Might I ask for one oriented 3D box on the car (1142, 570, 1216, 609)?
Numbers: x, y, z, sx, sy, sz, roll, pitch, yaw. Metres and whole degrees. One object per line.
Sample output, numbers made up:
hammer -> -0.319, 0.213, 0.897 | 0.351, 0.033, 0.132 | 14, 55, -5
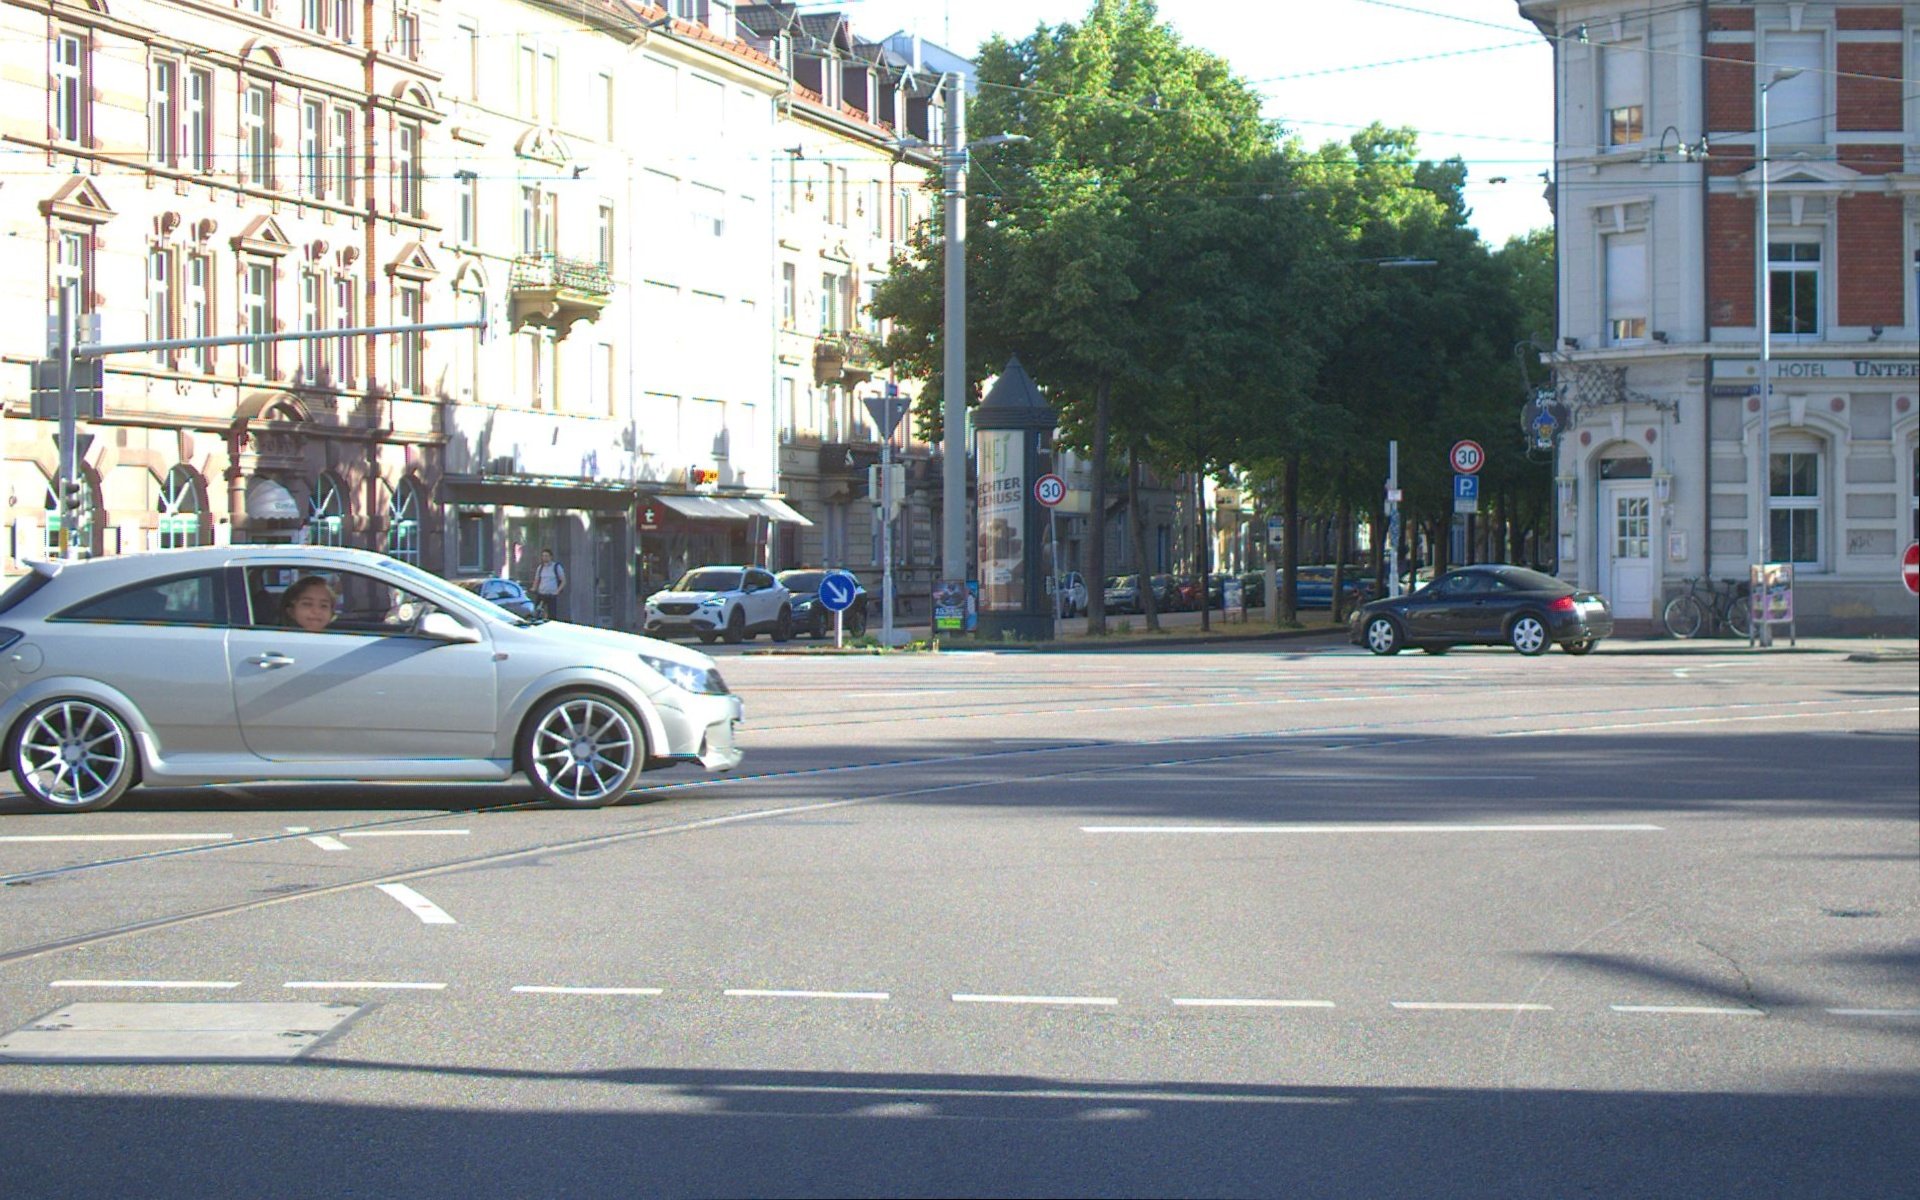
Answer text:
car -> 8.403, -0.418, 131.406 | 1.995, 1.400, 4.166 | 0, 1, 16

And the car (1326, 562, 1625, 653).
car -> 7.677, 0.086, 51.277 | 4.067, 1.296, 1.719 | 0, 1, 32

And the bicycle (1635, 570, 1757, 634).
bicycle -> 12.269, 0.027, 57.341 | 1.953, 1.050, 0.715 | 0, 1, 10

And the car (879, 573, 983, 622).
car -> -0.844, -0.092, 102.090 | 1.995, 1.400, 4.166 | 0, 1, 16

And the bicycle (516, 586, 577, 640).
bicycle -> -7.848, 0.232, 65.300 | 0.655, 0.997, 1.664 | 1, 1, 12

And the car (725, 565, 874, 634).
car -> -3.400, -0.041, 73.643 | 1.995, 1.400, 4.166 | 0, 1, 16

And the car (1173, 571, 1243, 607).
car -> 9.880, -0.450, 136.603 | 1.995, 1.400, 4.166 | 0, 1, 16

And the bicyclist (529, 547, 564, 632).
bicyclist -> -7.840, -0.203, 65.193 | 0.489, 1.596, 0.666 | 0, 1, 10

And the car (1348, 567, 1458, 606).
car -> 14.361, -0.429, 111.465 | 3.435, 1.235, 1.576 | 0, 1, 11

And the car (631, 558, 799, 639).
car -> -4.768, -0.053, 67.474 | 1.995, 1.511, 4.166 | 0, 1, 16

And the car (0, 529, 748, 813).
car -> -3.329, 0.345, 18.470 | 4.267, 1.436, 1.742 | 0, 1, -7

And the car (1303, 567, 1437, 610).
car -> 12.576, -0.348, 105.392 | 3.989, 1.284, 1.694 | 0, 1, 11

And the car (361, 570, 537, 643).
car -> -9.928, 0.102, 67.043 | 1.995, 1.357, 3.816 | 0, 1, 16

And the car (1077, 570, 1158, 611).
car -> 5.650, -0.340, 122.578 | 1.995, 1.400, 4.166 | 0, 1, 16

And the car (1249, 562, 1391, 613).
car -> 10.446, -0.361, 99.684 | 3.989, 1.450, 1.681 | 0, 1, 11
